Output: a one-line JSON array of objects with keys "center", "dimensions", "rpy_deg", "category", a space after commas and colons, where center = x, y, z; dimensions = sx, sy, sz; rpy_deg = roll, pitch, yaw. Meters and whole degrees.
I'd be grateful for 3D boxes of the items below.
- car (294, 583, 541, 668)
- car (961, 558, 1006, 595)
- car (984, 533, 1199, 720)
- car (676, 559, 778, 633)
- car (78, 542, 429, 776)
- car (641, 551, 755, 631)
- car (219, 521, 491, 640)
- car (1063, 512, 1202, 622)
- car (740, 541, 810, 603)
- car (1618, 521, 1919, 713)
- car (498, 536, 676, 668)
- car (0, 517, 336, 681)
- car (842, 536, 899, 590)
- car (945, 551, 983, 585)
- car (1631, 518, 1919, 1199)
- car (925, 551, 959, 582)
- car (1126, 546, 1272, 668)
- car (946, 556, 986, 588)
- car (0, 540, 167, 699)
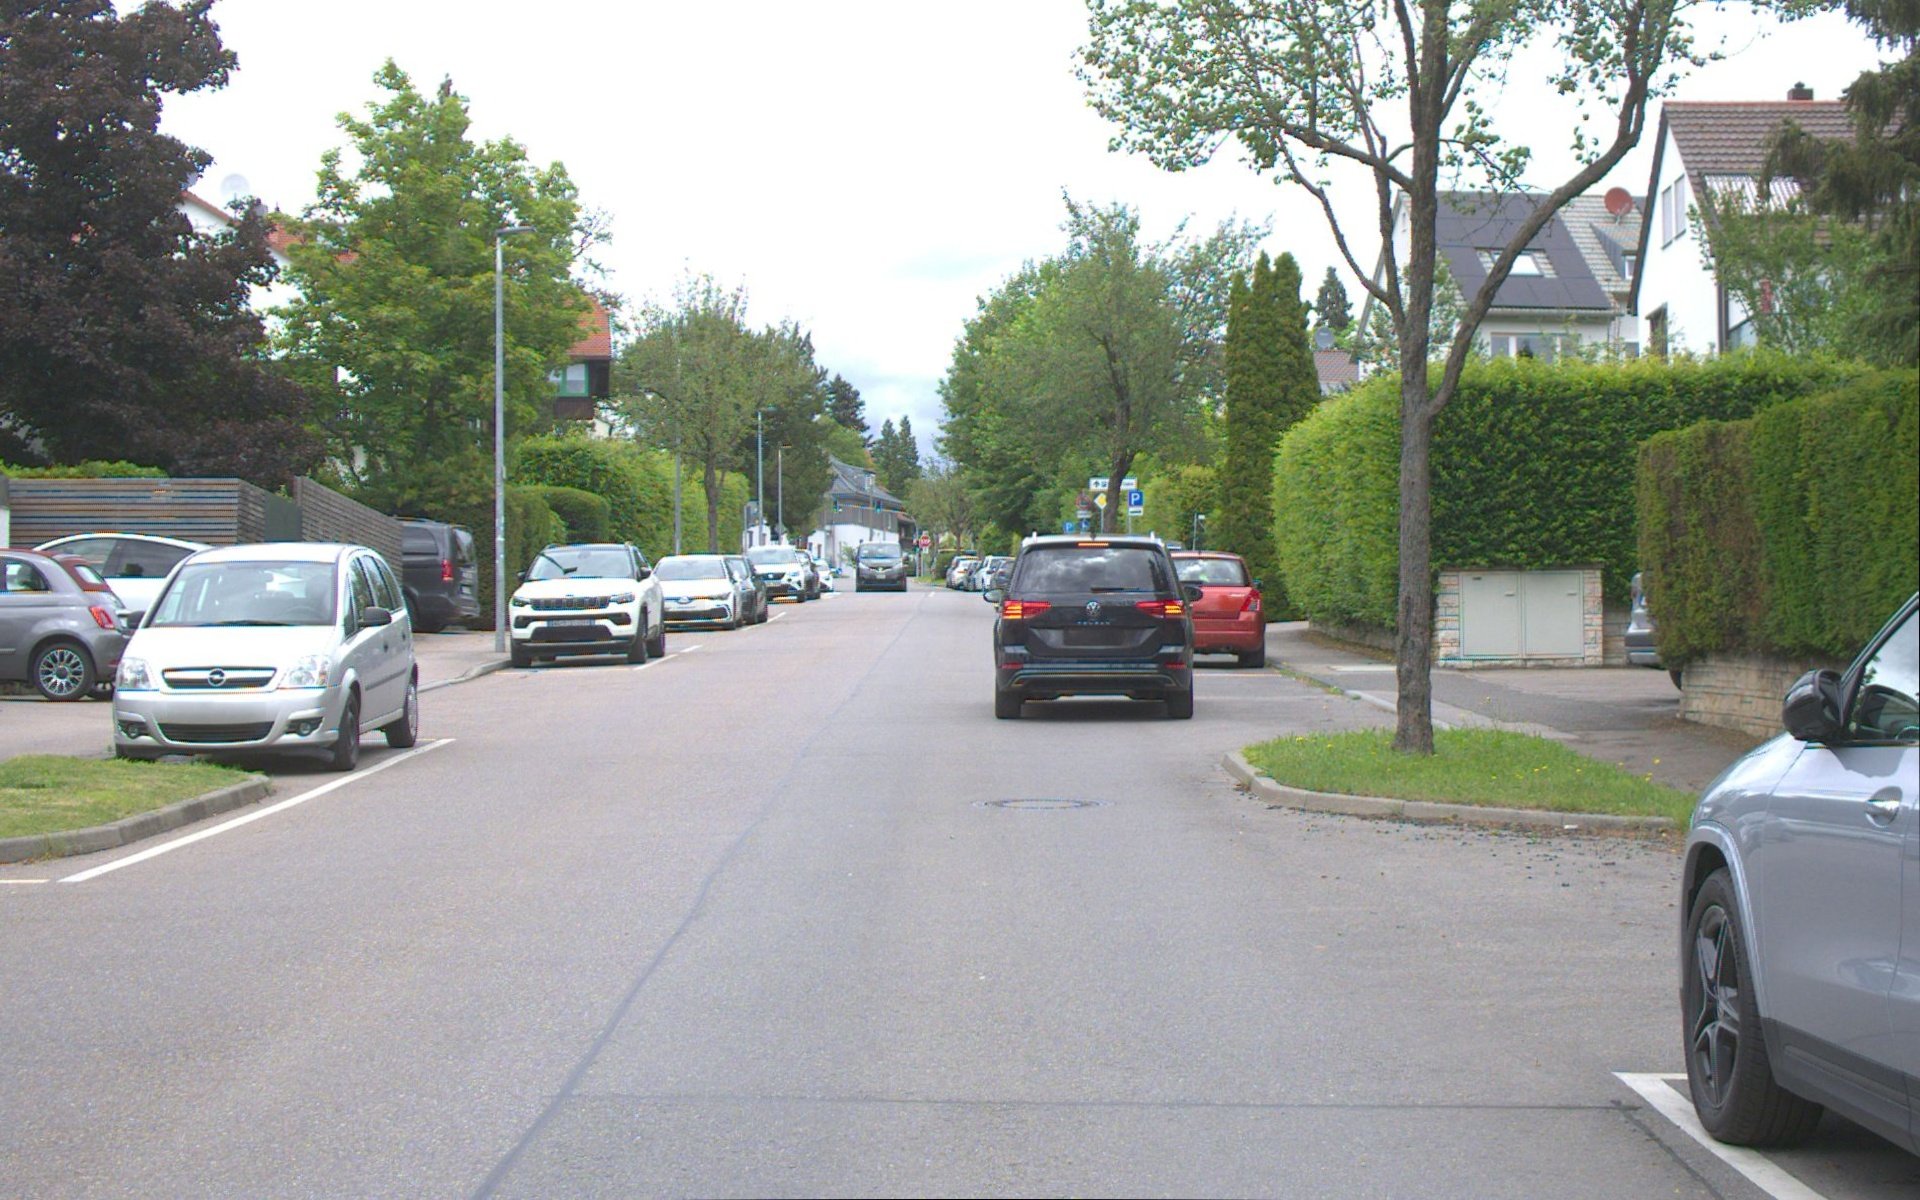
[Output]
[{"center": [-9.679, 0.435, 61.468], "dimensions": [3.989, 1.440, 1.778], "rpy_deg": [1, 1, 13], "category": "car"}, {"center": [0.969, -0.995, 145.458], "dimensions": [1.664, 1.495, 3.468], "rpy_deg": [0, 1, -4], "category": "car"}, {"center": [1.175, 0.207, 31.704], "dimensions": [1.847, 1.606, 4.311], "rpy_deg": [0, 0, 1], "category": "car"}, {"center": [-4.750, -0.093, 70.501], "dimensions": [1.727, 1.418, 4.079], "rpy_deg": [-1, 0, 1], "category": "car"}, {"center": [-5.118, 0.378, 25.380], "dimensions": [1.760, 1.557, 3.855], "rpy_deg": [-1, 1, 0], "category": "car"}, {"center": [-4.981, -0.189, 65.787], "dimensions": [1.837, 1.417, 4.408], "rpy_deg": [-2, 1, 0], "category": "car"}, {"center": [-10.142, -0.312, 57.793], "dimensions": [4.074, 1.943, 1.999], "rpy_deg": [0, -1, 9], "category": "car"}, {"center": [2.680, -0.518, 54.413], "dimensions": [1.993, 1.612, 4.513], "rpy_deg": [2, 1, 1], "category": "car"}, {"center": [-4.829, -0.752, 90.261], "dimensions": [1.722, 1.535, 4.001], "rpy_deg": [-1, 1, -2], "category": "car"}, {"center": [8.411, 0.098, 31.637], "dimensions": [4.206, 1.594, 1.883], "rpy_deg": [-2, 2, -8], "category": "car"}, {"center": [-5.048, -0.011, 47.049], "dimensions": [1.837, 1.660, 4.408], "rpy_deg": [-2, 1, 1], "category": "car"}, {"center": [-9.319, -0.047, 38.093], "dimensions": [4.411, 1.623, 1.911], "rpy_deg": [2, 1, 0], "category": "car"}, {"center": [-3.127, -1.314, 120.790], "dimensions": [1.885, 1.844, 4.402], "rpy_deg": [-1, 1, 0], "category": "car"}, {"center": [0.206, -1.588, 172.100], "dimensions": [1.664, 1.662, 3.468], "rpy_deg": [0, 1, -4], "category": "car"}, {"center": [2.845, 0.627, 7.419], "dimensions": [1.855, 1.576, 4.172], "rpy_deg": [1, 0, -2], "category": "car"}, {"center": [-0.985, -1.853, 187.481], "dimensions": [1.643, 1.662, 3.468], "rpy_deg": [0, 1, -4], "category": "car"}, {"center": [3.064, 0.061, 44.720], "dimensions": [1.661, 1.503, 3.758], "rpy_deg": [0, 1, 0], "category": "car"}, {"center": [0.283, -1.375, 165.221], "dimensions": [1.664, 1.495, 3.468], "rpy_deg": [0, 1, -4], "category": "car"}, {"center": [-9.859, 0.153, 34.298], "dimensions": [3.429, 1.507, 1.692], "rpy_deg": [2, 0, 2], "category": "car"}]
